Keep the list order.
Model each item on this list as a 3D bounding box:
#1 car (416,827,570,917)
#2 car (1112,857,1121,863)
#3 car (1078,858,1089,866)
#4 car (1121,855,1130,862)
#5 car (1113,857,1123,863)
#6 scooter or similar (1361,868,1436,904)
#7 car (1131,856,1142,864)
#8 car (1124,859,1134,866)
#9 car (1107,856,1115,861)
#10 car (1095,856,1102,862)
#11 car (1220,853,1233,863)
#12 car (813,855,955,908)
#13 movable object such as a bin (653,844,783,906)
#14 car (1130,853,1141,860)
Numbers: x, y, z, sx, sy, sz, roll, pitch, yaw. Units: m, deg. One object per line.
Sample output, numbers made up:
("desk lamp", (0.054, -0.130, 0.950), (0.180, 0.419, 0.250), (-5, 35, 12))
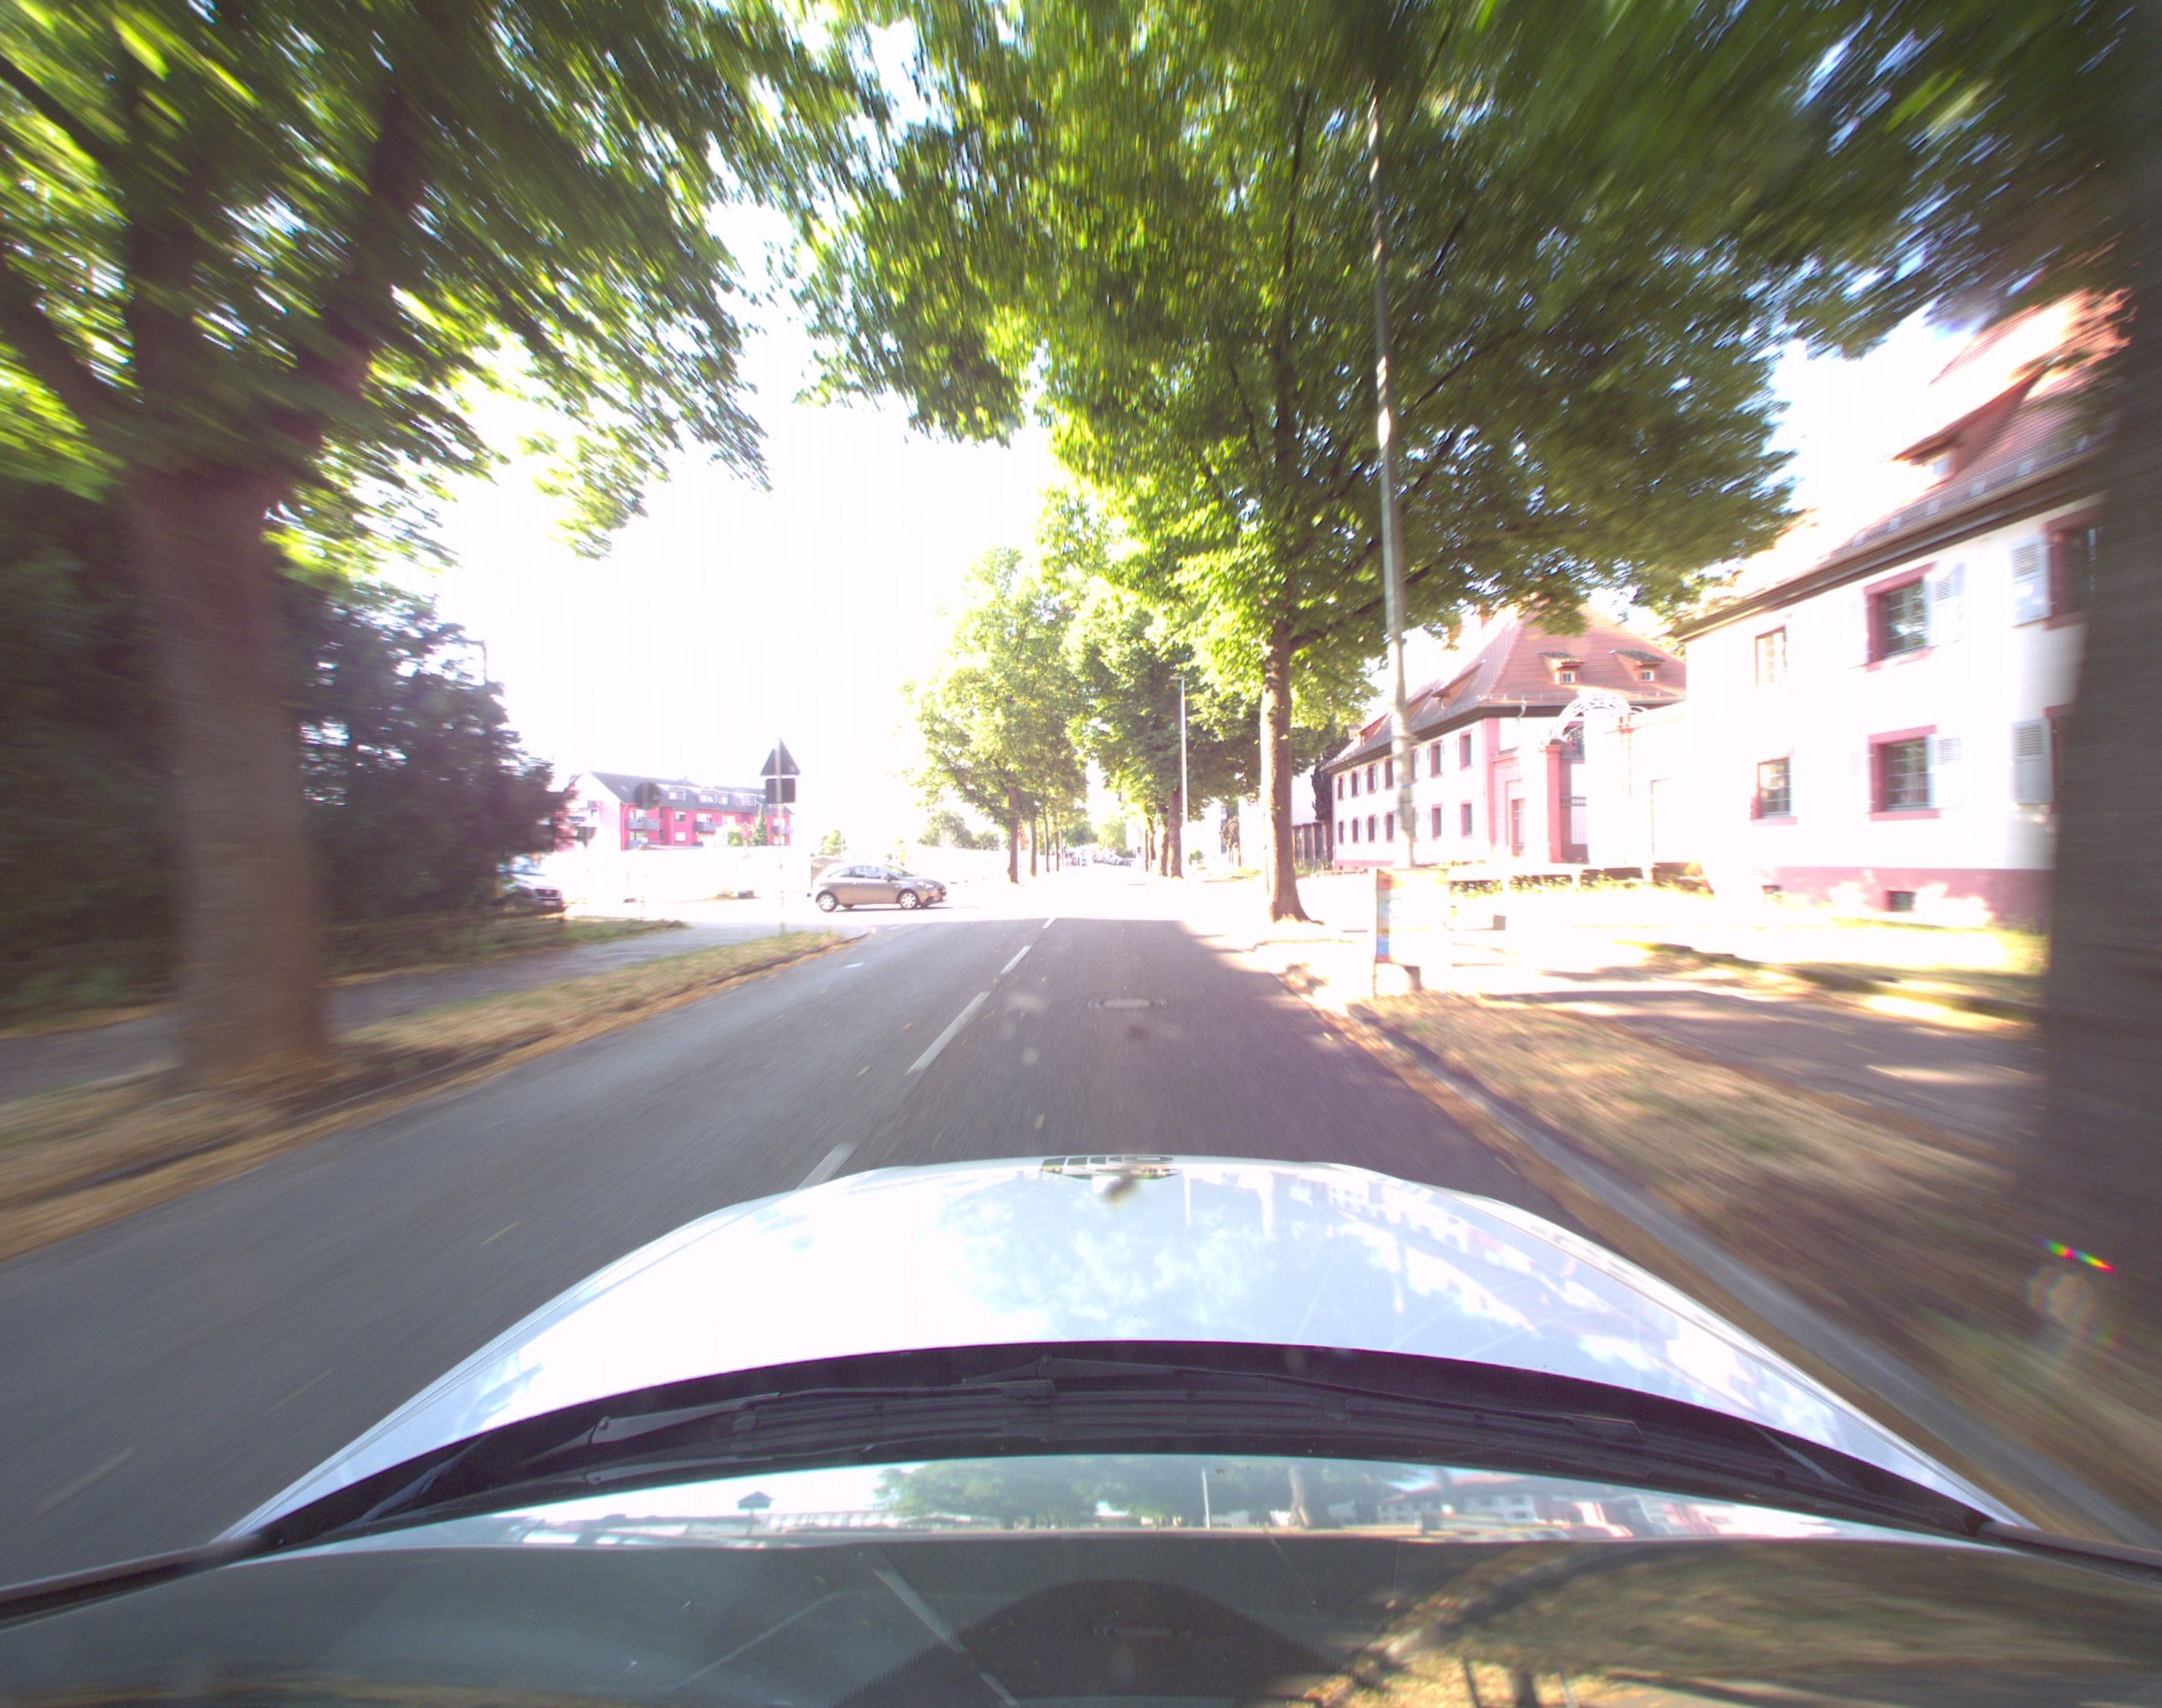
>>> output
("car", (-17.814, 0.528, 24.577), (5.255, 2.468, 2.183), (-2, 0, 36))
("car", (8.751, 1.498, 200.858), (1.836, 1.386, 3.998), (-2, 0, -1))
("car", (0.464, 1.631, 165.372), (1.989, 1.687, 3.995), (-2, -1, -3))
("car", (9.695, 1.046, 177.867), (1.835, 1.386, 3.999), (-2, 0, -1))
("car", (8.574, 1.399, 189.083), (1.836, 1.386, 3.998), (-2, -1, -1))
("scooter or similar", (7.068, 0.711, 18.178), (1.221, 0.548, 1.064), (-10, 0, 2))
("car", (9.662, 1.047, 142.183), (1.834, 1.261, 4.002), (-2, -1, 2))
("car", (9.334, 1.744, 159.542), (1.834, 1.261, 4.002), (-2, -1, 2))
("car", (8.189, 1.303, 221.530), (1.836, 1.386, 3.998), (-2, -1, -1))
("car", (5.229, 1.450, 240.134), (1.709, 1.486, 3.998), (-2, -1, -1))
("car", (24.507, 0.728, 137.097), (1.804, 1.559, 3.630), (0, -2, 5))
("car", (-5.920, 0.821, 24.749), (3.826, 1.473, 1.653), (-1, 0, 4))
("movable object such as a bin", (-33.041, 1.775, 74.930), (2.982, 4.993, 11.628), (-4, -1, 25))
("car", (10.222, 0.405, 152.926), (1.834, 1.261, 4.002), (-2, 0, 2))
